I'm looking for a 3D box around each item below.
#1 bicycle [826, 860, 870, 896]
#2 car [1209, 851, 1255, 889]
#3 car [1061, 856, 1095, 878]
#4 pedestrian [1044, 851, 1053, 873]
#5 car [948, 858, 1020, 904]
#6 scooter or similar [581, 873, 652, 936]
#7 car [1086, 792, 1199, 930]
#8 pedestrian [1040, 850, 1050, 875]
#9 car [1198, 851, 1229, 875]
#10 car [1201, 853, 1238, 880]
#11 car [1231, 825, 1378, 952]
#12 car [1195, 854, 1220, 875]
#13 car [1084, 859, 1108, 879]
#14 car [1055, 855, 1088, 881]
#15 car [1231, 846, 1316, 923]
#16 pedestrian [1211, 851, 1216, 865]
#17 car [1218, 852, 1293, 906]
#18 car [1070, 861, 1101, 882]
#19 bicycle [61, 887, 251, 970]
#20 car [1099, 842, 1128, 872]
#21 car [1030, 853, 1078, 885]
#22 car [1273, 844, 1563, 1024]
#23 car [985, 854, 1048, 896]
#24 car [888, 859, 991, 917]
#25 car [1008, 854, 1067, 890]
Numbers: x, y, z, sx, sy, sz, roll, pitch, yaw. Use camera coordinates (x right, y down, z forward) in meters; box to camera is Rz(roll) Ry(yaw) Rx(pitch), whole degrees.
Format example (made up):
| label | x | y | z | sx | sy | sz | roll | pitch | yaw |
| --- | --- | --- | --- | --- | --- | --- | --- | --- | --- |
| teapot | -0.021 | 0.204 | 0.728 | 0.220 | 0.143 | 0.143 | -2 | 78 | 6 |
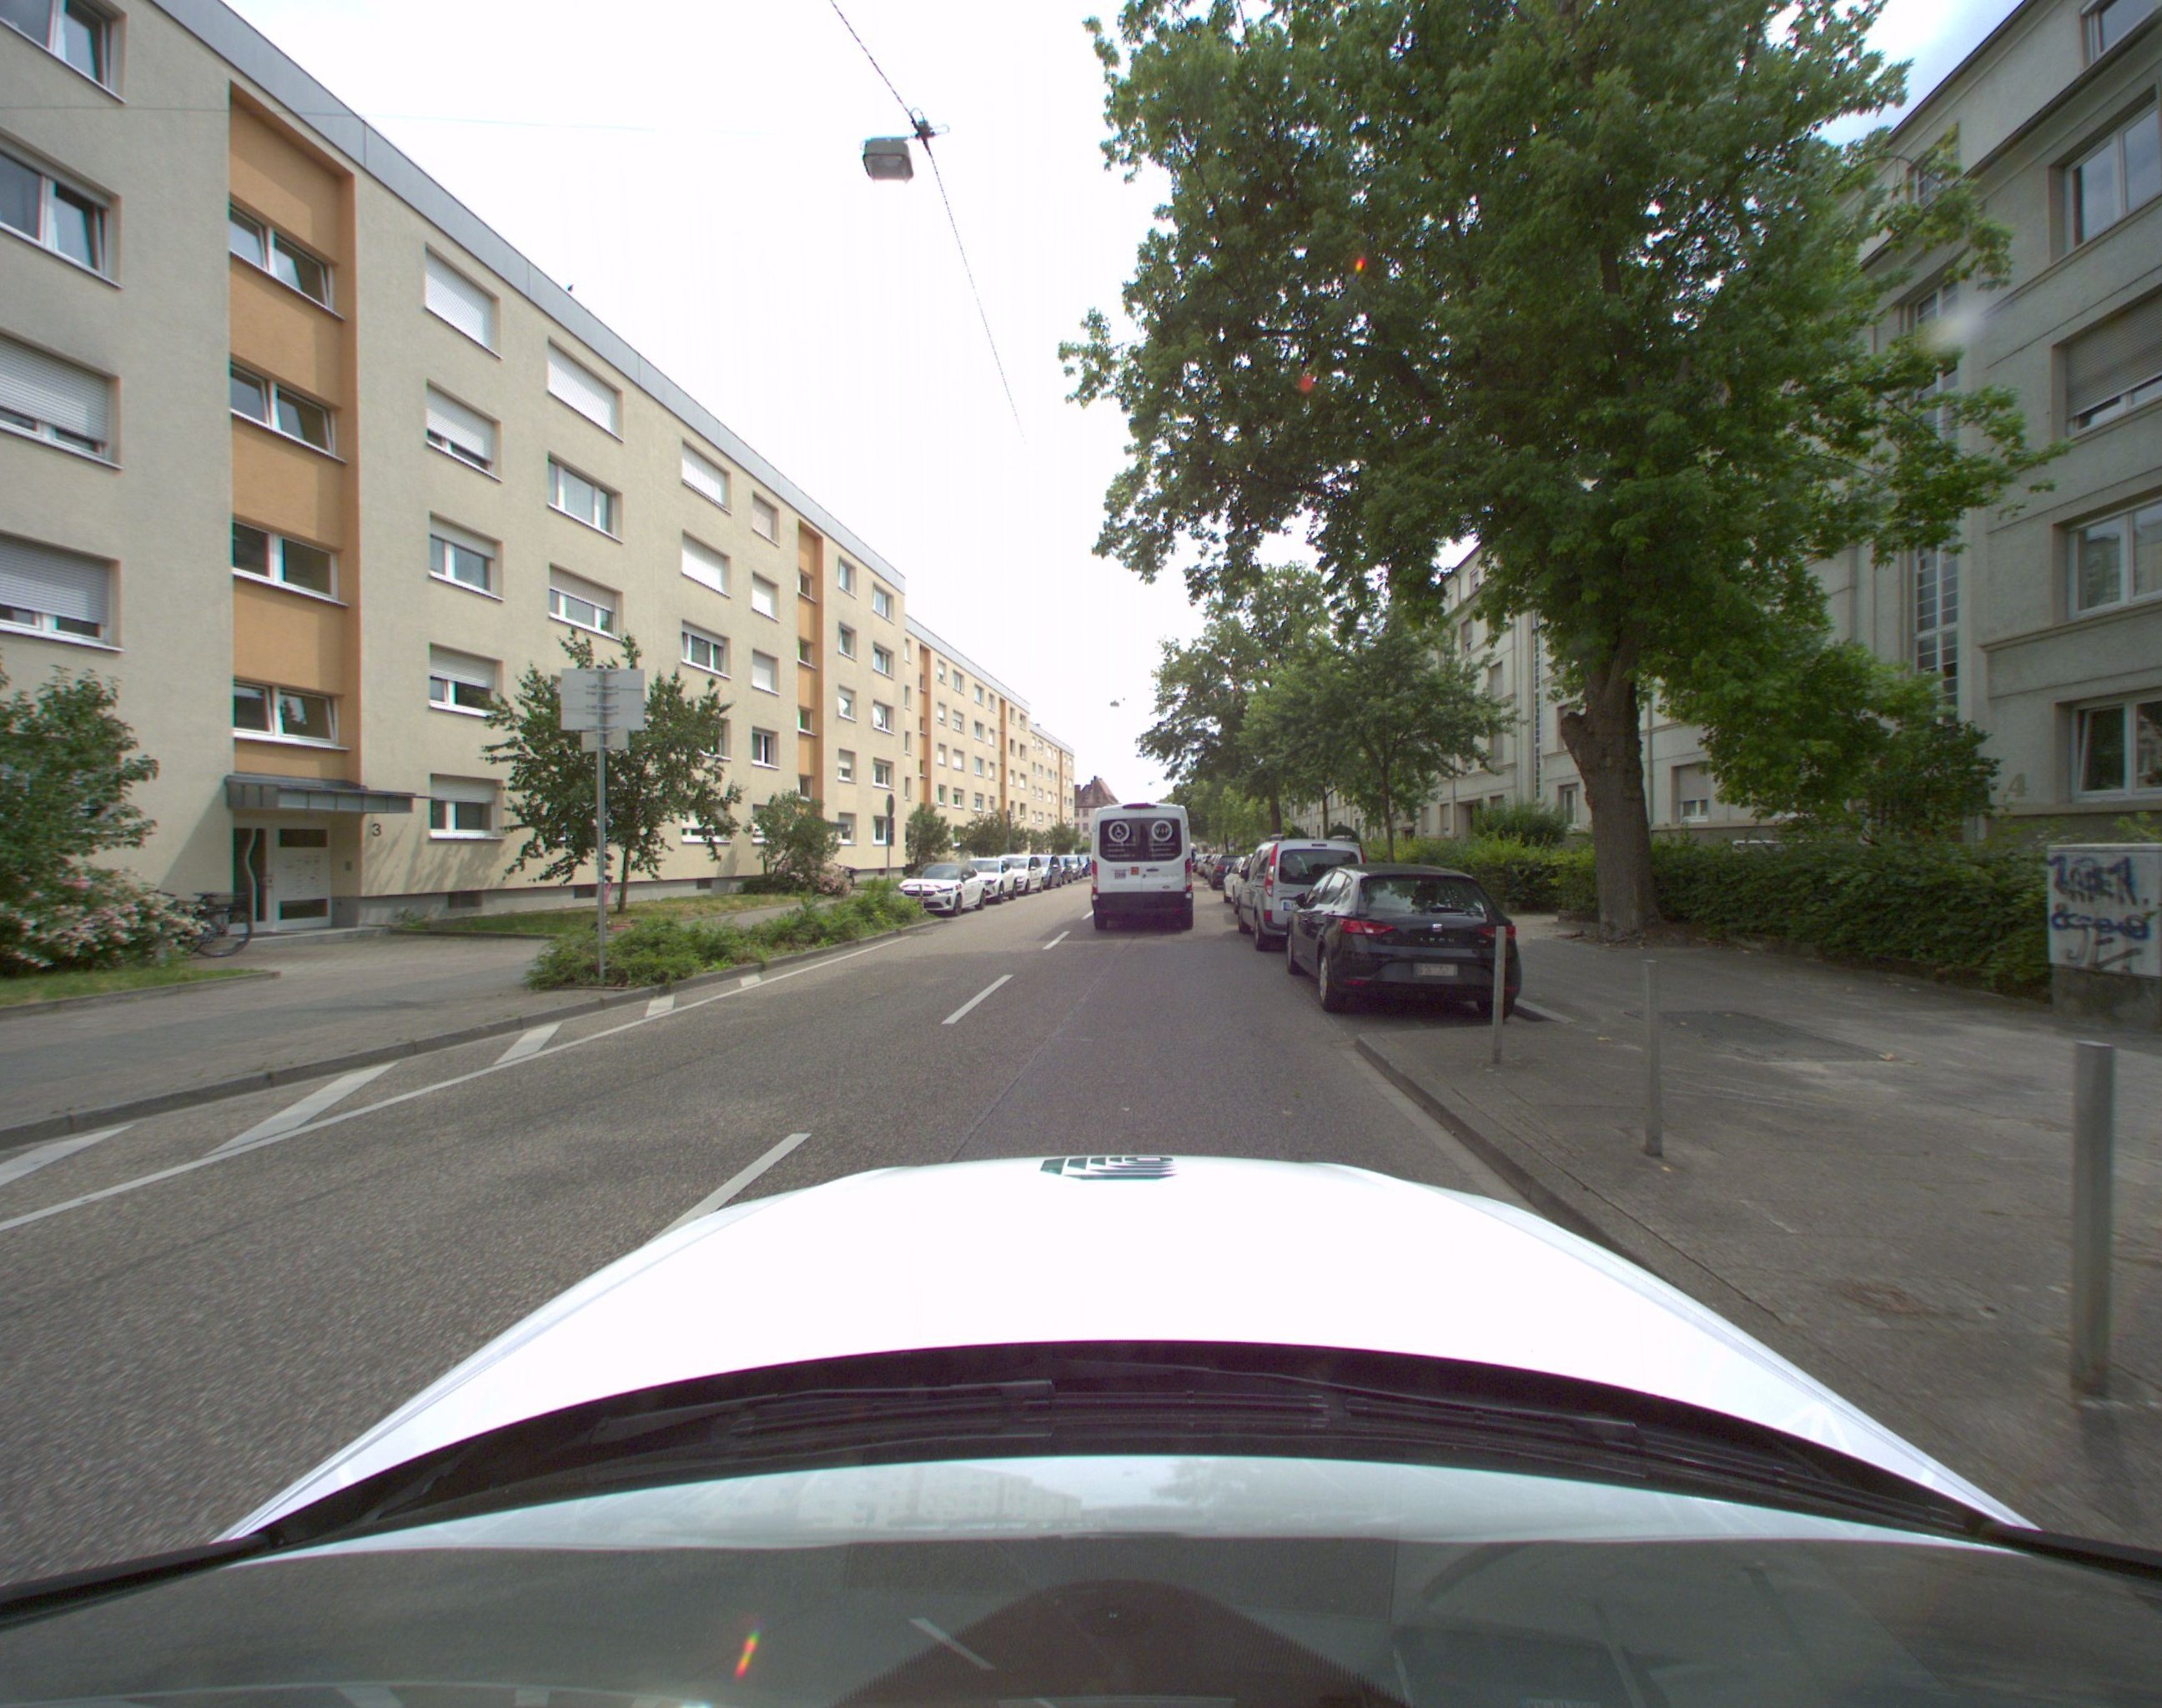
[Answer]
| label | x | y | z | sx | sy | sz | roll | pitch | yaw |
| --- | --- | --- | --- | --- | --- | --- | --- | --- | --- |
| bicycle | -8.579 | 0.867 | 30.044 | 0.574 | 1.251 | 1.942 | 0 | 1 | 17 |
| car | 6.284 | 0.621 | 34.259 | 1.688 | 1.469 | 4.110 | 1 | 0 | 7 |
| car | -0.164 | 0.872 | 57.159 | 1.807 | 1.483 | 3.894 | 1 | 0 | 8 |
| pedestrian | -2.663 | 0.634 | 66.956 | 0.617 | 1.813 | 0.804 | -1 | -1 | 4 |
| car | -3.310 | 0.882 | 28.582 | 1.700 | 1.473 | 3.995 | 1 | 0 | 5 |
| scooter or similar | -9.310 | 0.991 | 16.369 | 0.398 | 1.193 | 1.296 | 1 | 0 | 18 |
| car | 1.354 | 0.155 | 17.688 | 2.060 | 2.540 | 4.641 | -1 | -1 | 5 |
| pedestrian | -2.726 | 0.641 | 61.862 | 0.617 | 1.813 | 0.900 | 0 | 0 | 4 |
| car | 8.498 | 0.567 | 52.491 | 1.689 | 1.469 | 4.725 | 1 | 0 | 6 |
| car | 7.887 | 0.671 | 46.713 | 1.689 | 1.469 | 4.761 | 1 | 0 | 5 |
| car | 3.772 | 0.506 | 14.581 | 1.907 | 1.865 | 4.857 | 1 | 0 | 8 |
| car | 9.718 | 0.782 | 62.370 | 1.769 | 1.469 | 4.627 | 1 | 0 | 10 |
| car | 1.319 | 1.266 | 68.464 | 1.714 | 1.539 | 4.011 | -1 | 1 | 5 |
| car | -0.597 | 0.848 | 52.024 | 1.661 | 1.561 | 3.857 | 1 | 0 | 6 |
| car | 4.420 | 0.644 | 19.140 | 1.596 | 1.608 | 3.813 | 1 | 0 | 8 |
| pedestrian | 17.995 | 0.517 | 110.522 | 0.526 | 1.828 | 0.518 | -1 | -1 | -35 |
| car | 5.091 | 0.683 | 24.204 | 1.689 | 1.450 | 4.107 | 0 | 0 | 5 |
| car | 0.389 | 1.318 | 62.502 | 1.808 | 1.483 | 4.125 | 1 | 0 | 8 |
| bicycle | -13.272 | 1.036 | 11.773 | 0.408 | 1.038 | 1.812 | -1 | -1 | 15 |
| car | 3.506 | 0.288 | 86.231 | 2.498 | 3.024 | 7.409 | 1 | 0 | 6 |
| car | -1.432 | 0.792 | 44.778 | 1.932 | 1.613 | 4.311 | 1 | 0 | 7 |
| car | 3.267 | 0.654 | 8.856 | 1.907 | 1.444 | 4.248 | 1 | 0 | 8 |
| car | -2.615 | 0.834 | 34.134 | 1.688 | 1.613 | 4.487 | 1 | 0 | 8 |
| car | -3.910 | 0.893 | 23.209 | 1.699 | 1.473 | 3.998 | 1 | 0 | 8 |
| car | -2.016 | 0.825 | 39.408 | 1.931 | 1.613 | 4.873 | 1 | 0 | 8 |
